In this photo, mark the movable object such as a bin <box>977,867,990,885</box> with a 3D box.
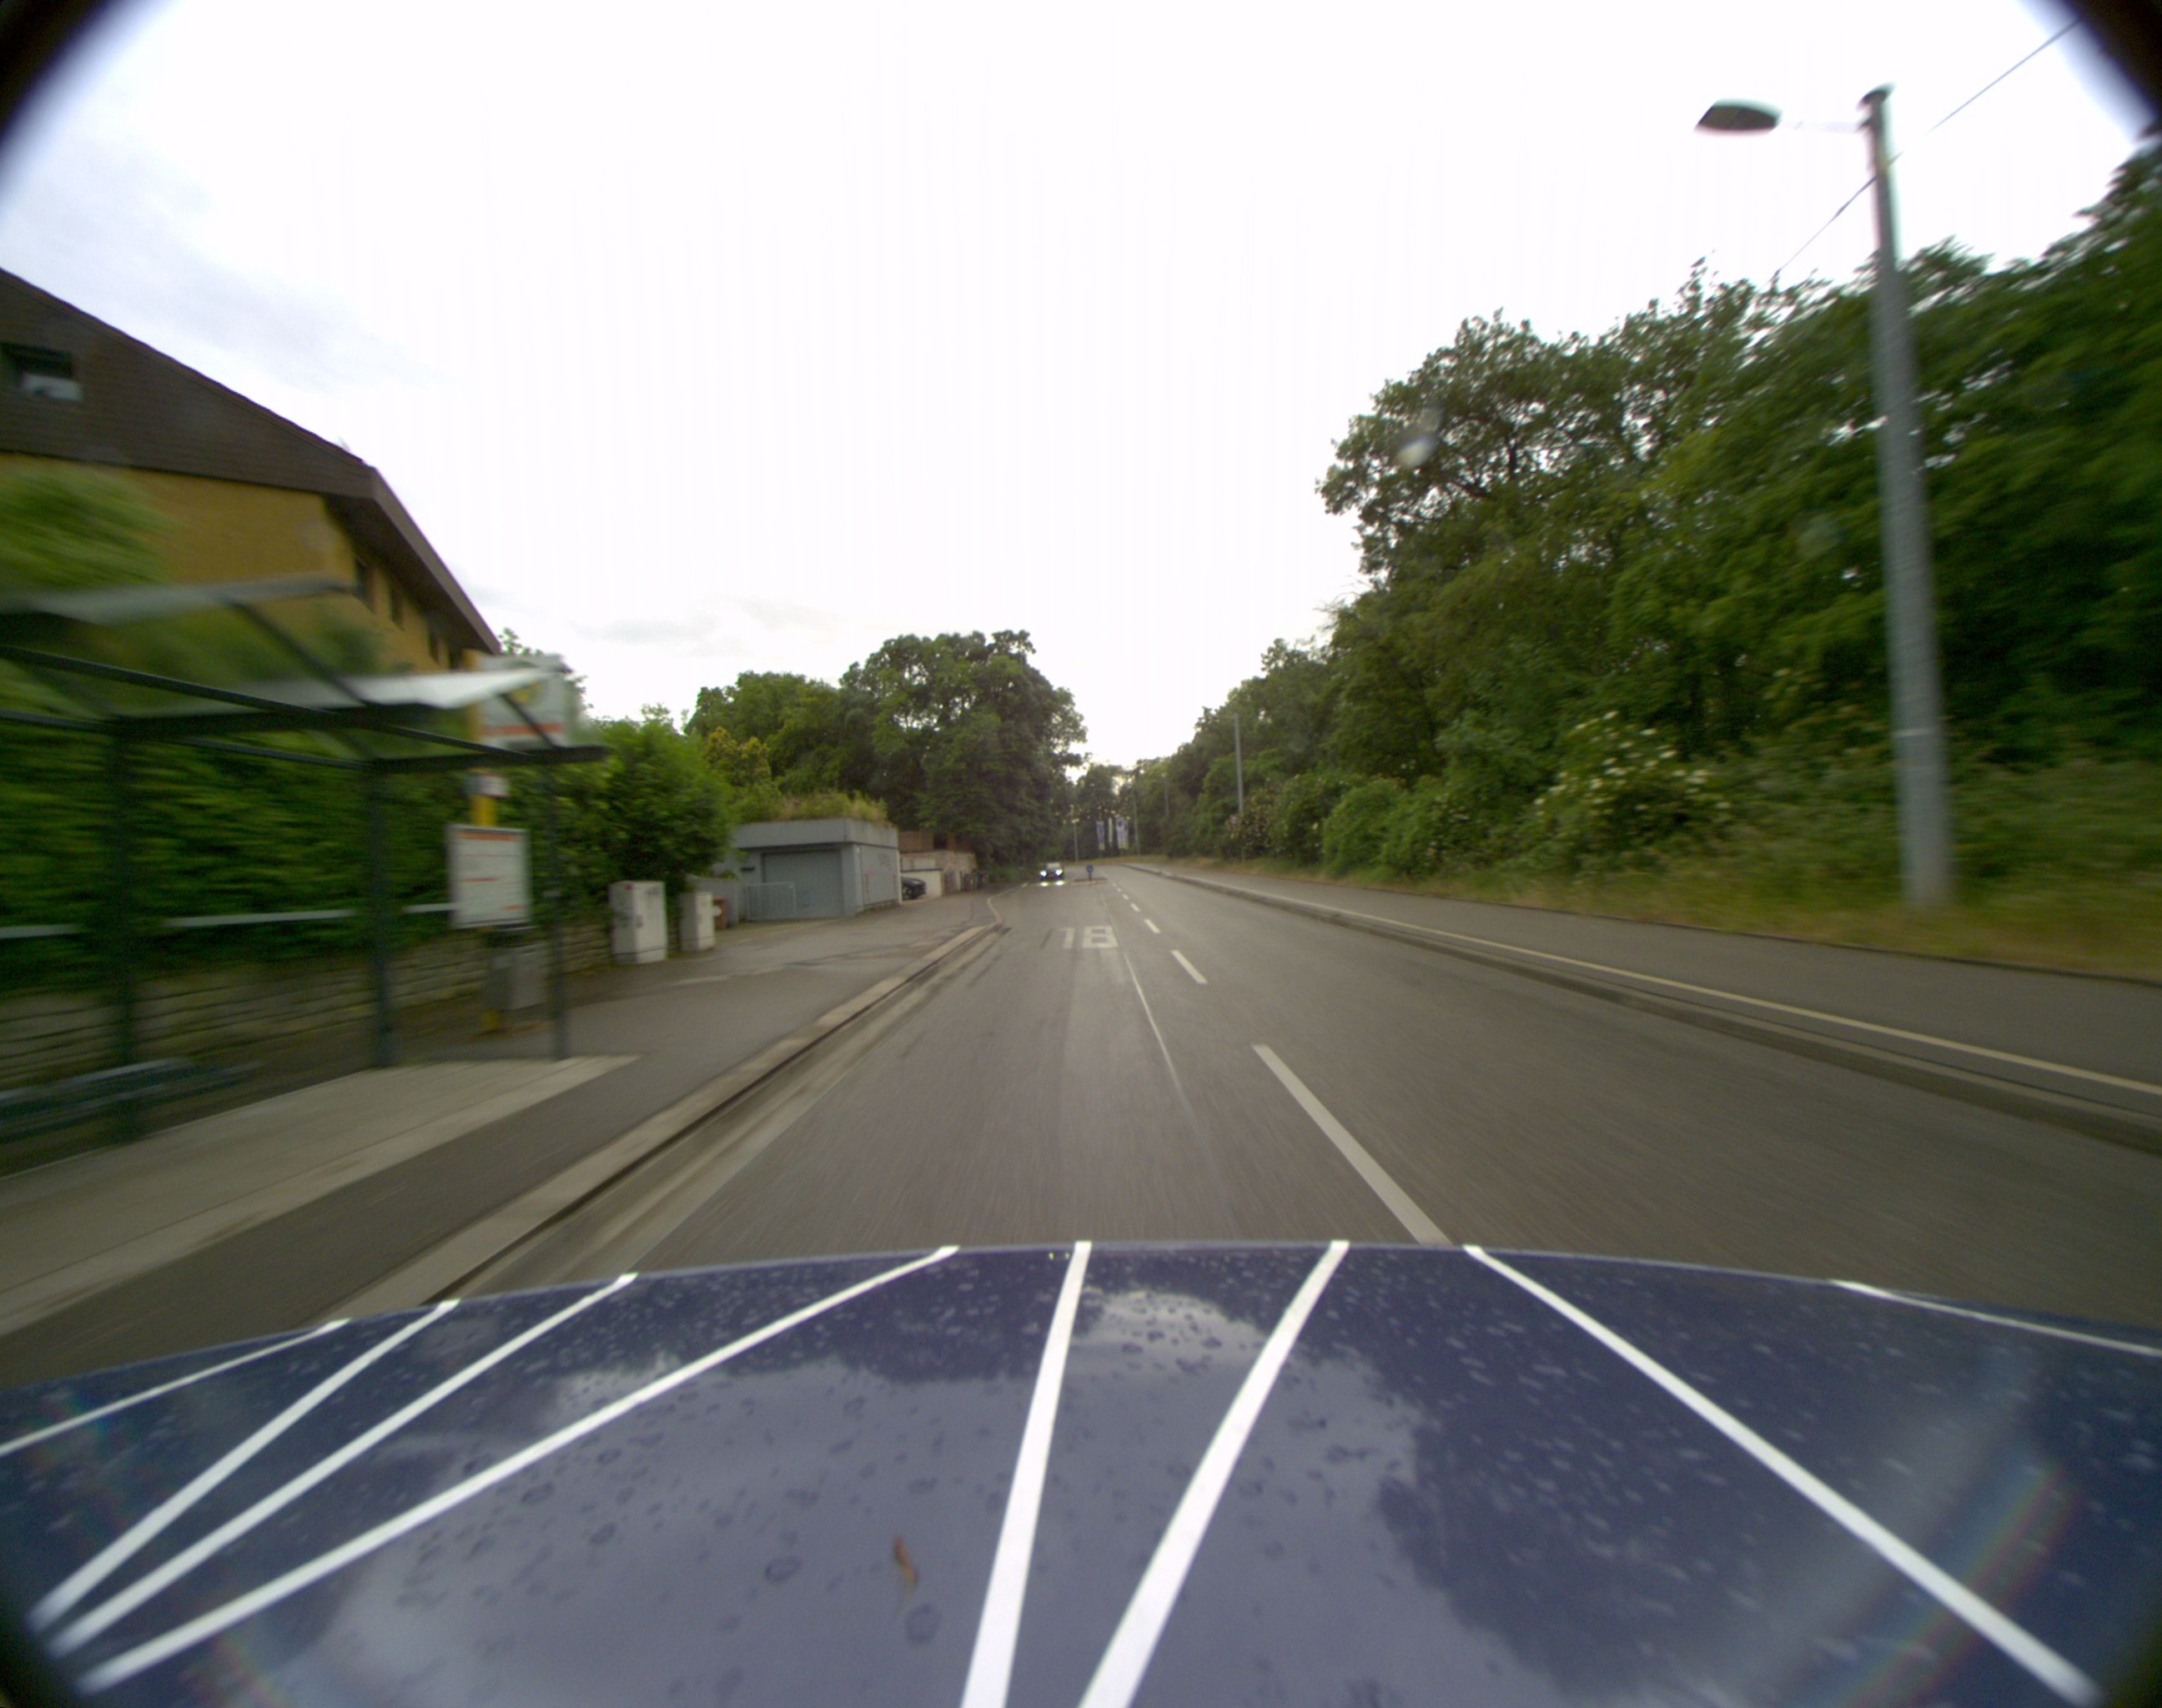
[{"bbox_3d":[-6.238,1.411,48.660,0.666,1.062,0.659,-4,0,1],"label":"movable object such as a bin"}]

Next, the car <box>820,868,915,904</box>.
[{"bbox_3d":[-9.429,1.395,33.774,3.644,1.417,1.836,-2,0,-1],"label":"car"}]

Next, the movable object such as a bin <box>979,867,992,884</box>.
[{"bbox_3d":[-6.228,1.401,49.439,0.666,1.062,0.659,-4,0,1],"label":"movable object such as a bin"}]

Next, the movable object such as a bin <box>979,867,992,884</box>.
[{"bbox_3d":[-6.297,1.410,50.179,0.666,1.062,0.701,-4,0,1],"label":"movable object such as a bin"}]

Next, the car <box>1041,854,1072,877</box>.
[{"bbox_3d":[-1.880,0.892,60.000,1.998,1.714,4.001,-1,0,4],"label":"car"}]

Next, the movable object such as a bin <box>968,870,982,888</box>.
[{"bbox_3d":[-6.343,1.505,45.509,0.666,0.999,0.659,-4,0,1],"label":"movable object such as a bin"}]

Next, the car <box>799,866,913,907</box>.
[{"bbox_3d":[-9.250,1.319,31.389,4.043,1.506,1.960,-2,-1,4],"label":"car"}]

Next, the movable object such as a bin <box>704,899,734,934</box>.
[{"bbox_3d":[-10.056,1.738,21.108,0.528,0.901,0.565,-4,0,-4],"label":"movable object such as a bin"}]

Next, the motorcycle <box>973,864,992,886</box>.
[{"bbox_3d":[-6.099,1.307,47.101,0.777,1.237,2.013,-4,0,1],"label":"motorcycle"}]

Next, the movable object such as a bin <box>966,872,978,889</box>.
[{"bbox_3d":[-6.420,1.557,44.768,0.570,0.931,0.549,-4,0,1],"label":"movable object such as a bin"}]

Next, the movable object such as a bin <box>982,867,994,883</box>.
[{"bbox_3d":[-6.253,1.411,51.042,0.666,1.062,0.701,-4,0,1],"label":"movable object such as a bin"}]

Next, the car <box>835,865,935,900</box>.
[{"bbox_3d":[-9.313,1.354,36.362,4.228,1.498,1.895,-2,0,0],"label":"car"}]
